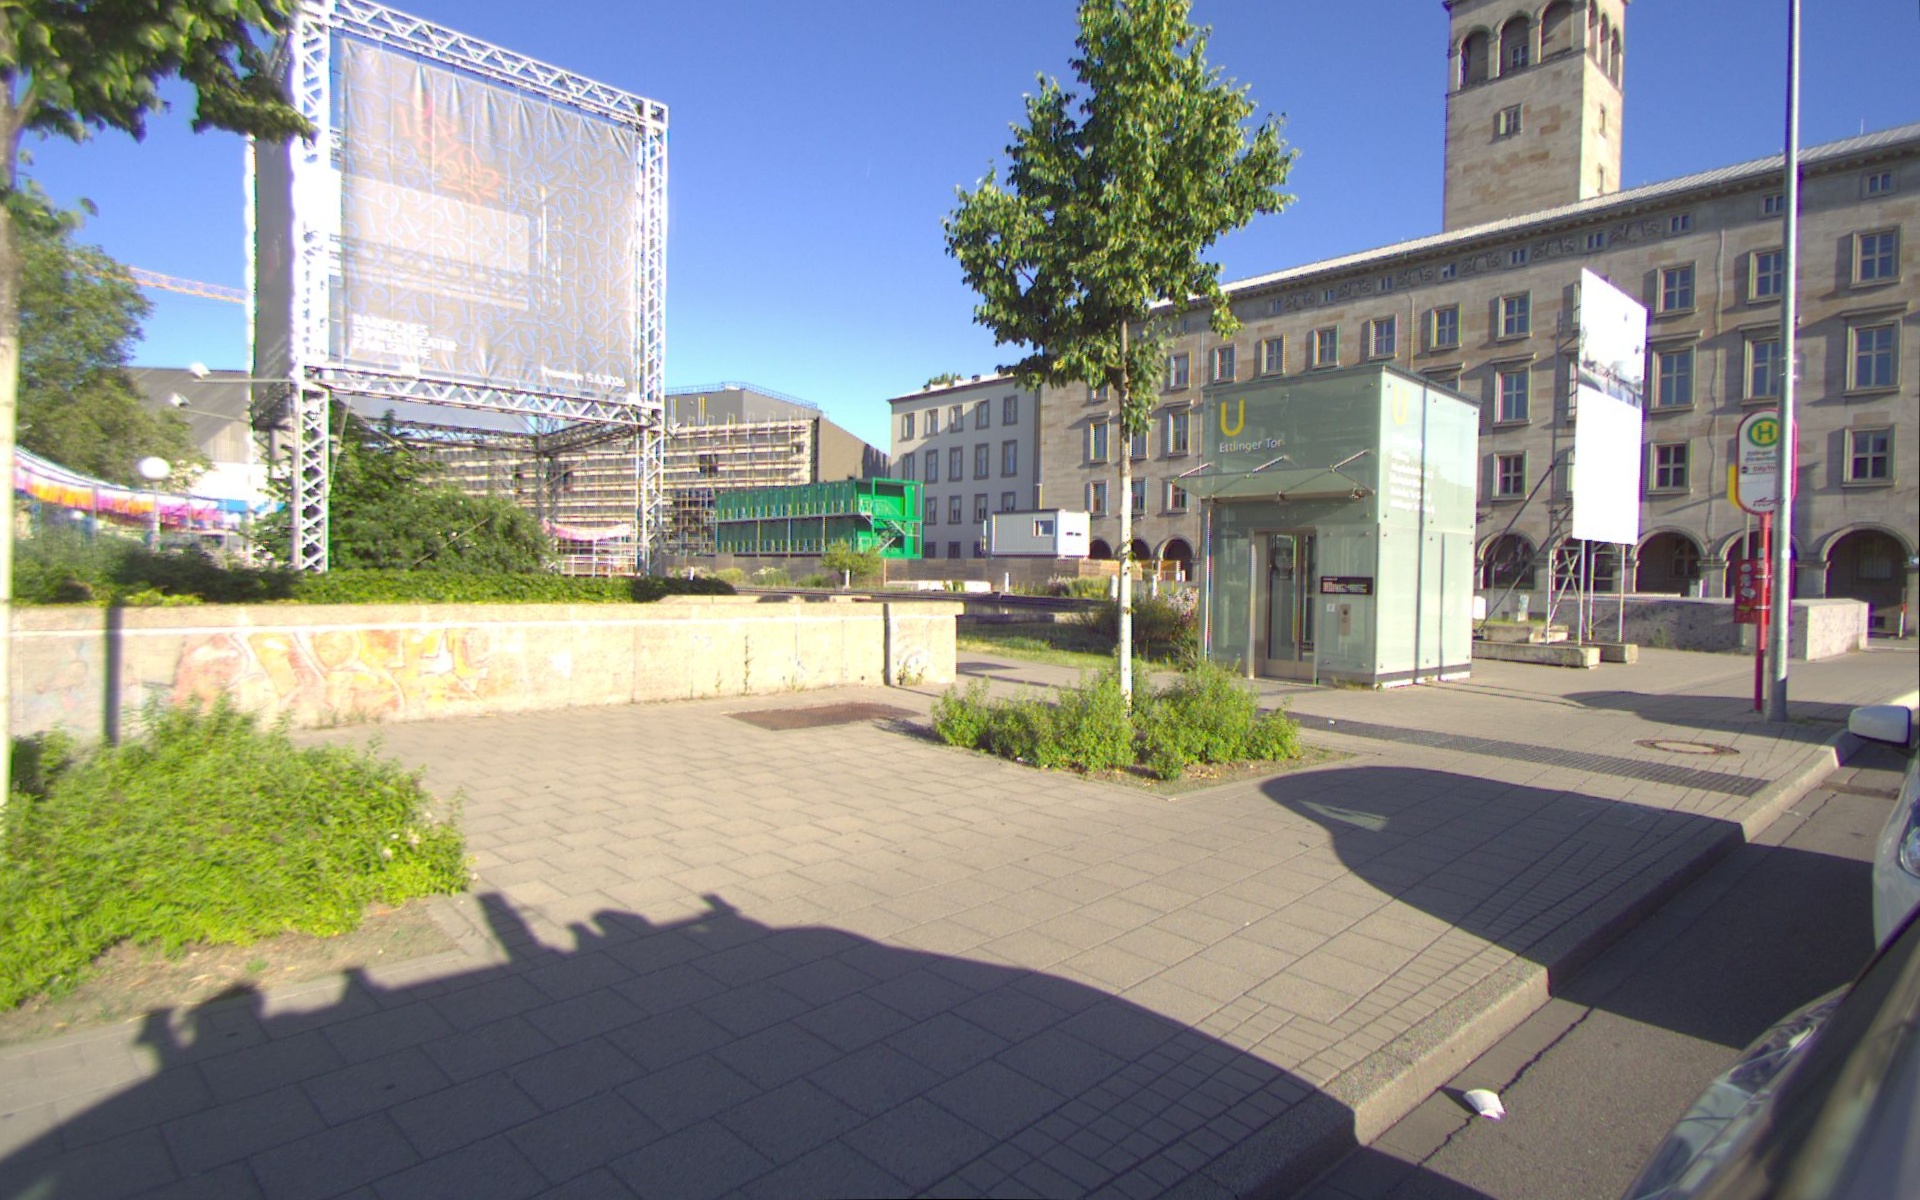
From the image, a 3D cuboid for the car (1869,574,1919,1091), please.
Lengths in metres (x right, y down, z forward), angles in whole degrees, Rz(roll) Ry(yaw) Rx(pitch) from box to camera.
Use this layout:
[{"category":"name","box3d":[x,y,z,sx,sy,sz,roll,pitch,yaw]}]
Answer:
[{"category":"car","box3d":[4.649,0.679,3.666,3.930,1.473,1.518,0,2,-41]}]
